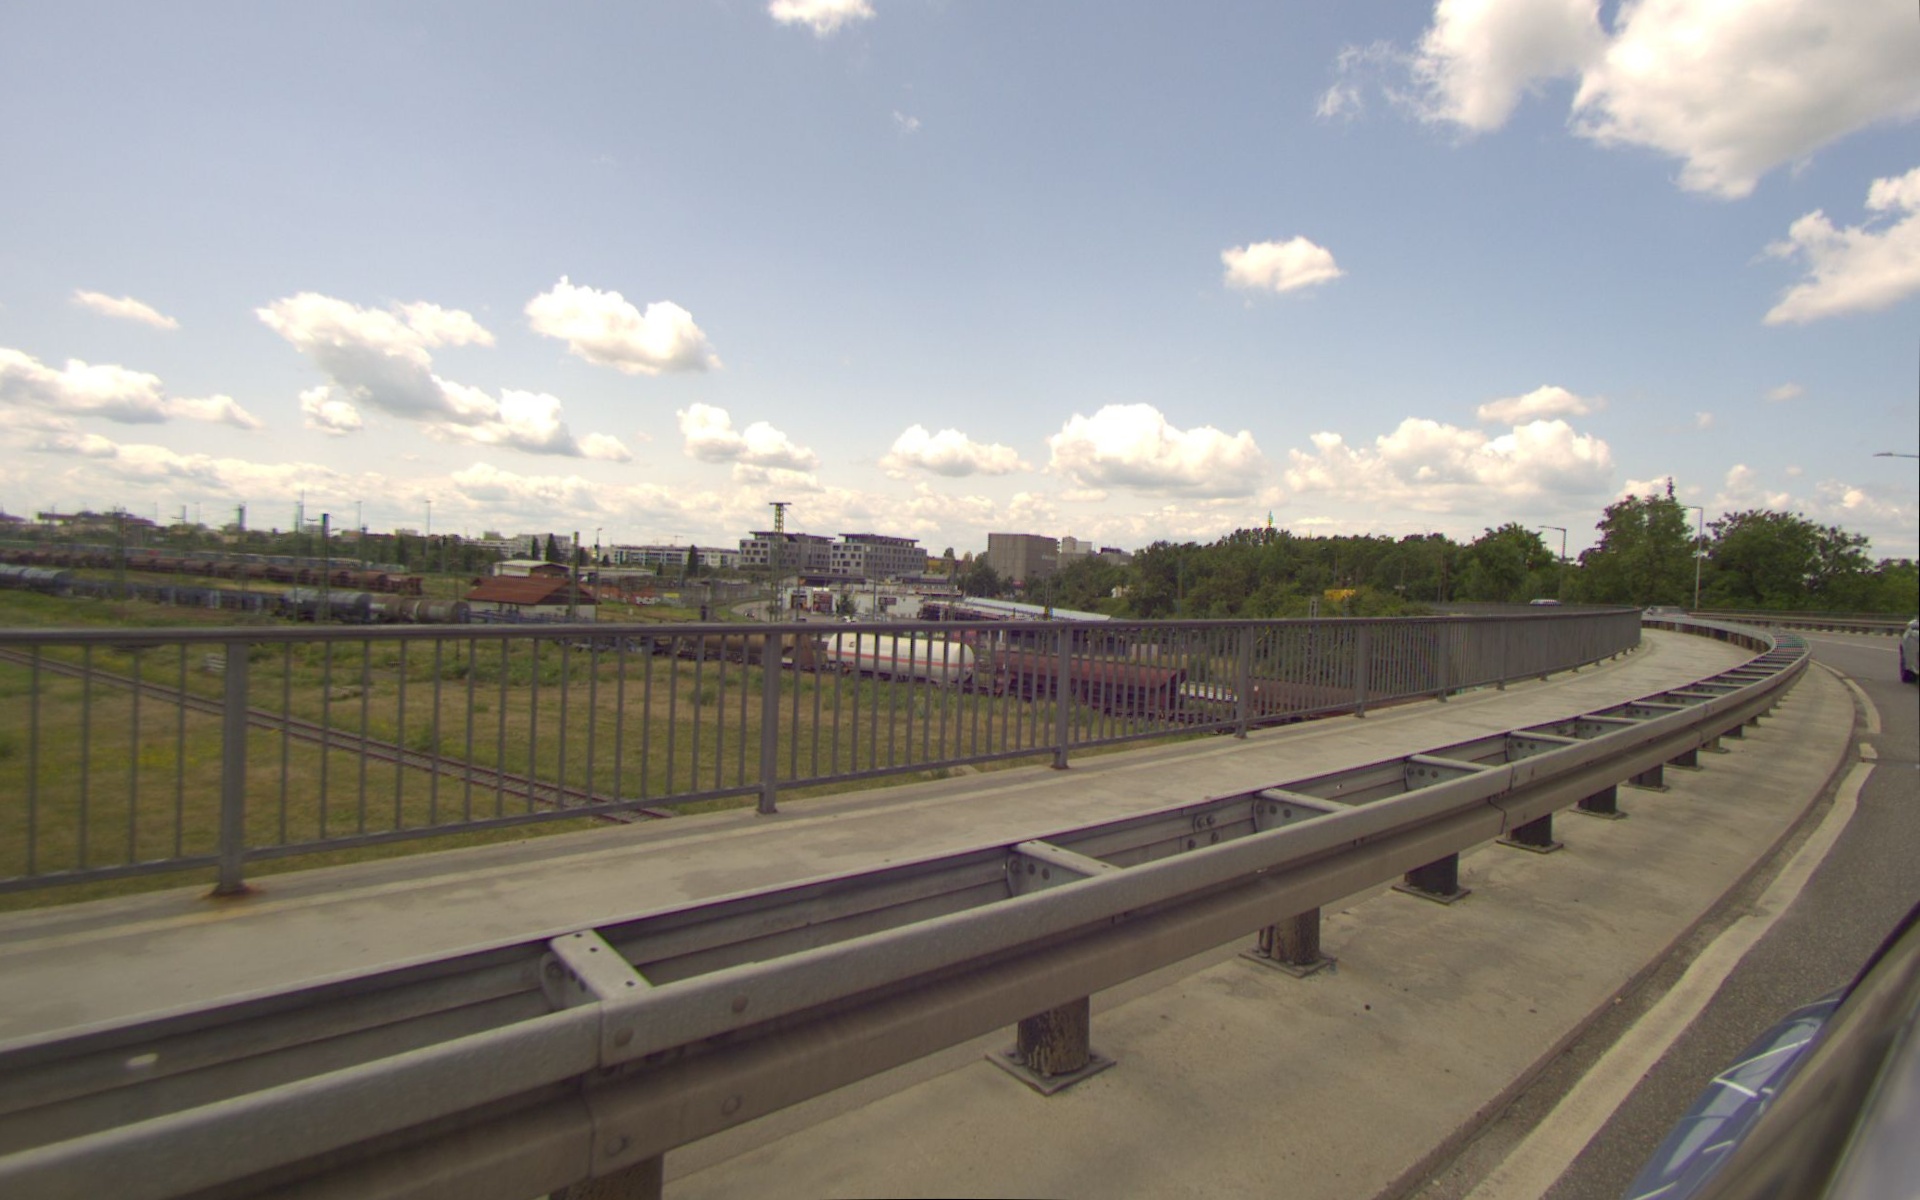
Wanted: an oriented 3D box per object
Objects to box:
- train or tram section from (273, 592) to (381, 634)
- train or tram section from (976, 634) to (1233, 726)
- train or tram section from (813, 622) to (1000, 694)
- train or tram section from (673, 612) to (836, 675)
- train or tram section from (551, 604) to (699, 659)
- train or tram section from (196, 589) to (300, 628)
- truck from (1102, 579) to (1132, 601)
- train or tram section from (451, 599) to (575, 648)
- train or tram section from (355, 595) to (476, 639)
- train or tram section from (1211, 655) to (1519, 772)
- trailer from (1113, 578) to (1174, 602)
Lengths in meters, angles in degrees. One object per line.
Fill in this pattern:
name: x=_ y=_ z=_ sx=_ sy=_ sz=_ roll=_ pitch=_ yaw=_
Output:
train or tram section: x=-76.634 y=1.440 z=122.371 sx=15.803 sy=4.202 sz=3.186 roll=2 pitch=4 yaw=26
train or tram section: x=9.423 y=5.244 z=70.303 sx=18.812 sy=4.202 sz=3.176 roll=4 pitch=5 yaw=39
train or tram section: x=-4.651 y=4.441 z=81.219 sx=16.863 sy=4.202 sz=3.178 roll=3 pitch=4 yaw=36
train or tram section: x=-18.781 y=3.704 z=91.148 sx=17.584 sy=4.202 sz=3.174 roll=3 pitch=4 yaw=35
train or tram section: x=-33.561 y=2.998 z=100.658 sx=17.550 sy=4.202 sz=3.180 roll=3 pitch=4 yaw=30
train or tram section: x=-90.976 y=0.963 z=129.112 sx=15.793 sy=4.202 sz=3.189 roll=2 pitch=4 yaw=24
truck: x=30.463 y=-1.926 z=196.126 sx=2.715 sy=4.187 sz=5.658 roll=0 pitch=0 yaw=-31
train or tram section: x=-48.140 y=2.384 z=108.655 sx=15.820 sy=4.202 sz=3.183 roll=2 pitch=4 yaw=28
train or tram section: x=-62.333 y=1.850 z=115.690 sx=15.792 sy=4.202 sz=3.189 roll=2 pitch=4 yaw=24
train or tram section: x=22.651 y=6.135 z=58.367 sx=16.565 sy=4.202 sz=3.091 roll=4 pitch=5 yaw=45
trailer: x=34.251 y=-1.900 z=189.547 sx=2.661 sy=4.334 sz=14.246 roll=0 pitch=0 yaw=-30
